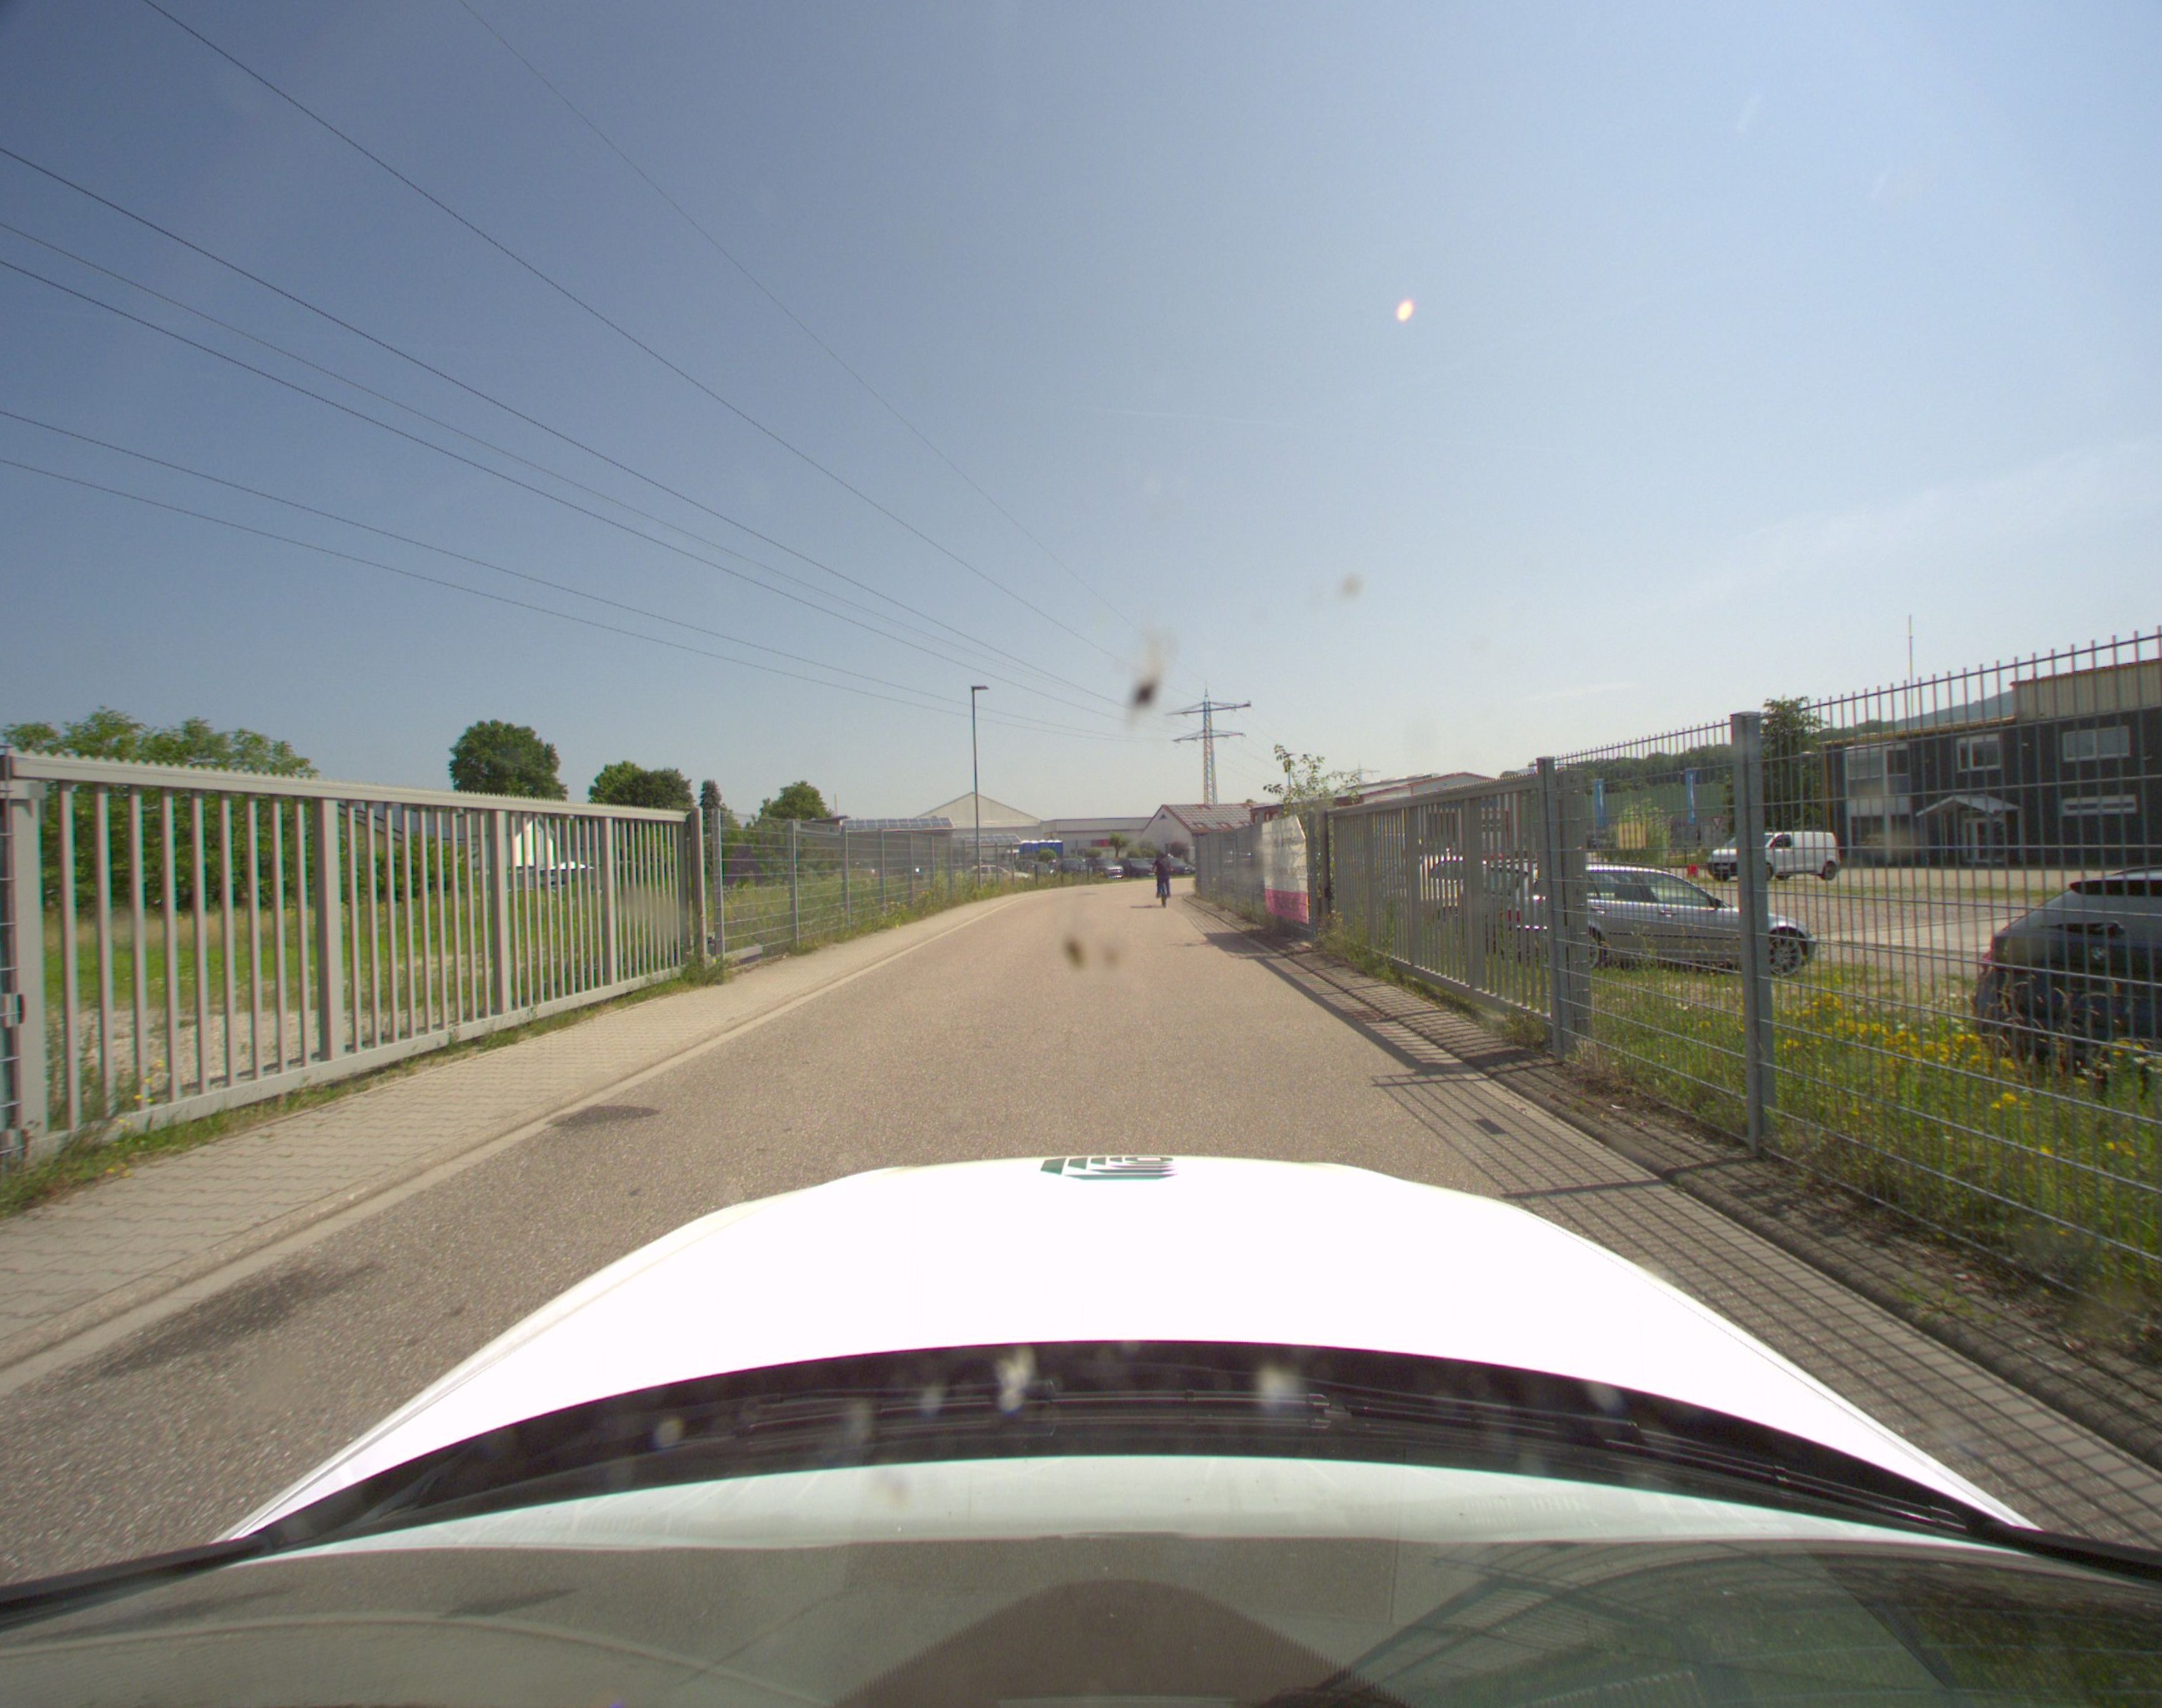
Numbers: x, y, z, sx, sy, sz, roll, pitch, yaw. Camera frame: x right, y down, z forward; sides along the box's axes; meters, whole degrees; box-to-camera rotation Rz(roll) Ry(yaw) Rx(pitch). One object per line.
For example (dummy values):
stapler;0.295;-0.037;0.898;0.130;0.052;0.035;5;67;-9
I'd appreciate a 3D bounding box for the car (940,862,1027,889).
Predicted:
car;-5.441;1.199;45.518;4.559;1.307;1.858;-2;-1;-17

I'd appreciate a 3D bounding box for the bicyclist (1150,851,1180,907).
bicyclist;2.465;0.717;24.033;0.838;1.618;1.041;-1;0;5

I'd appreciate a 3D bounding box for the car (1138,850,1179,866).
car;8.360;0.466;87.673;3.995;1.598;1.867;-2;0;-16

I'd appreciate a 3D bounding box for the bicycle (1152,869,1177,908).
bicycle;2.453;1.007;24.070;0.681;1.051;1.903;-1;0;5

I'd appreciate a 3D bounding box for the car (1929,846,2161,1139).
car;7.448;0.699;4.057;4.490;1.406;1.769;1;0;3

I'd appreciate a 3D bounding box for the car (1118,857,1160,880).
car;4.211;1.045;59.711;1.867;1.554;3.748;-2;0;-17

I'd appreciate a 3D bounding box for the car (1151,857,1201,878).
car;7.128;0.995;61.404;2.001;1.435;4.637;-2;0;-17

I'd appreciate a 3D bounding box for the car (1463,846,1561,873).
car;21.706;0.294;41.104;1.916;1.277;3.883;-1;0;-39

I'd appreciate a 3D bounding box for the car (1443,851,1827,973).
car;7.322;0.734;11.004;4.153;1.474;1.637;1;0;-2

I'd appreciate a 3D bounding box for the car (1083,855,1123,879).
car;1.560;0.963;59.336;1.867;1.644;3.612;-2;0;-18

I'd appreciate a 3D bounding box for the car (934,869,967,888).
car;-9.770;1.796;60.813;1.868;1.298;3.418;-2;0;-19

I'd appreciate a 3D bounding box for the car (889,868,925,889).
car;-12.964;1.800;60.507;1.871;1.414;3.413;-1;0;-25

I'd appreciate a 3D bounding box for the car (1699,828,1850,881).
car;27.089;0.005;31.836;5.066;1.899;1.849;-2;0;-13

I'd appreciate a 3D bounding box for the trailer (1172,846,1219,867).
trailer;11.587;0.245;82.768;4.437;1.945;1.712;-2;0;-3
